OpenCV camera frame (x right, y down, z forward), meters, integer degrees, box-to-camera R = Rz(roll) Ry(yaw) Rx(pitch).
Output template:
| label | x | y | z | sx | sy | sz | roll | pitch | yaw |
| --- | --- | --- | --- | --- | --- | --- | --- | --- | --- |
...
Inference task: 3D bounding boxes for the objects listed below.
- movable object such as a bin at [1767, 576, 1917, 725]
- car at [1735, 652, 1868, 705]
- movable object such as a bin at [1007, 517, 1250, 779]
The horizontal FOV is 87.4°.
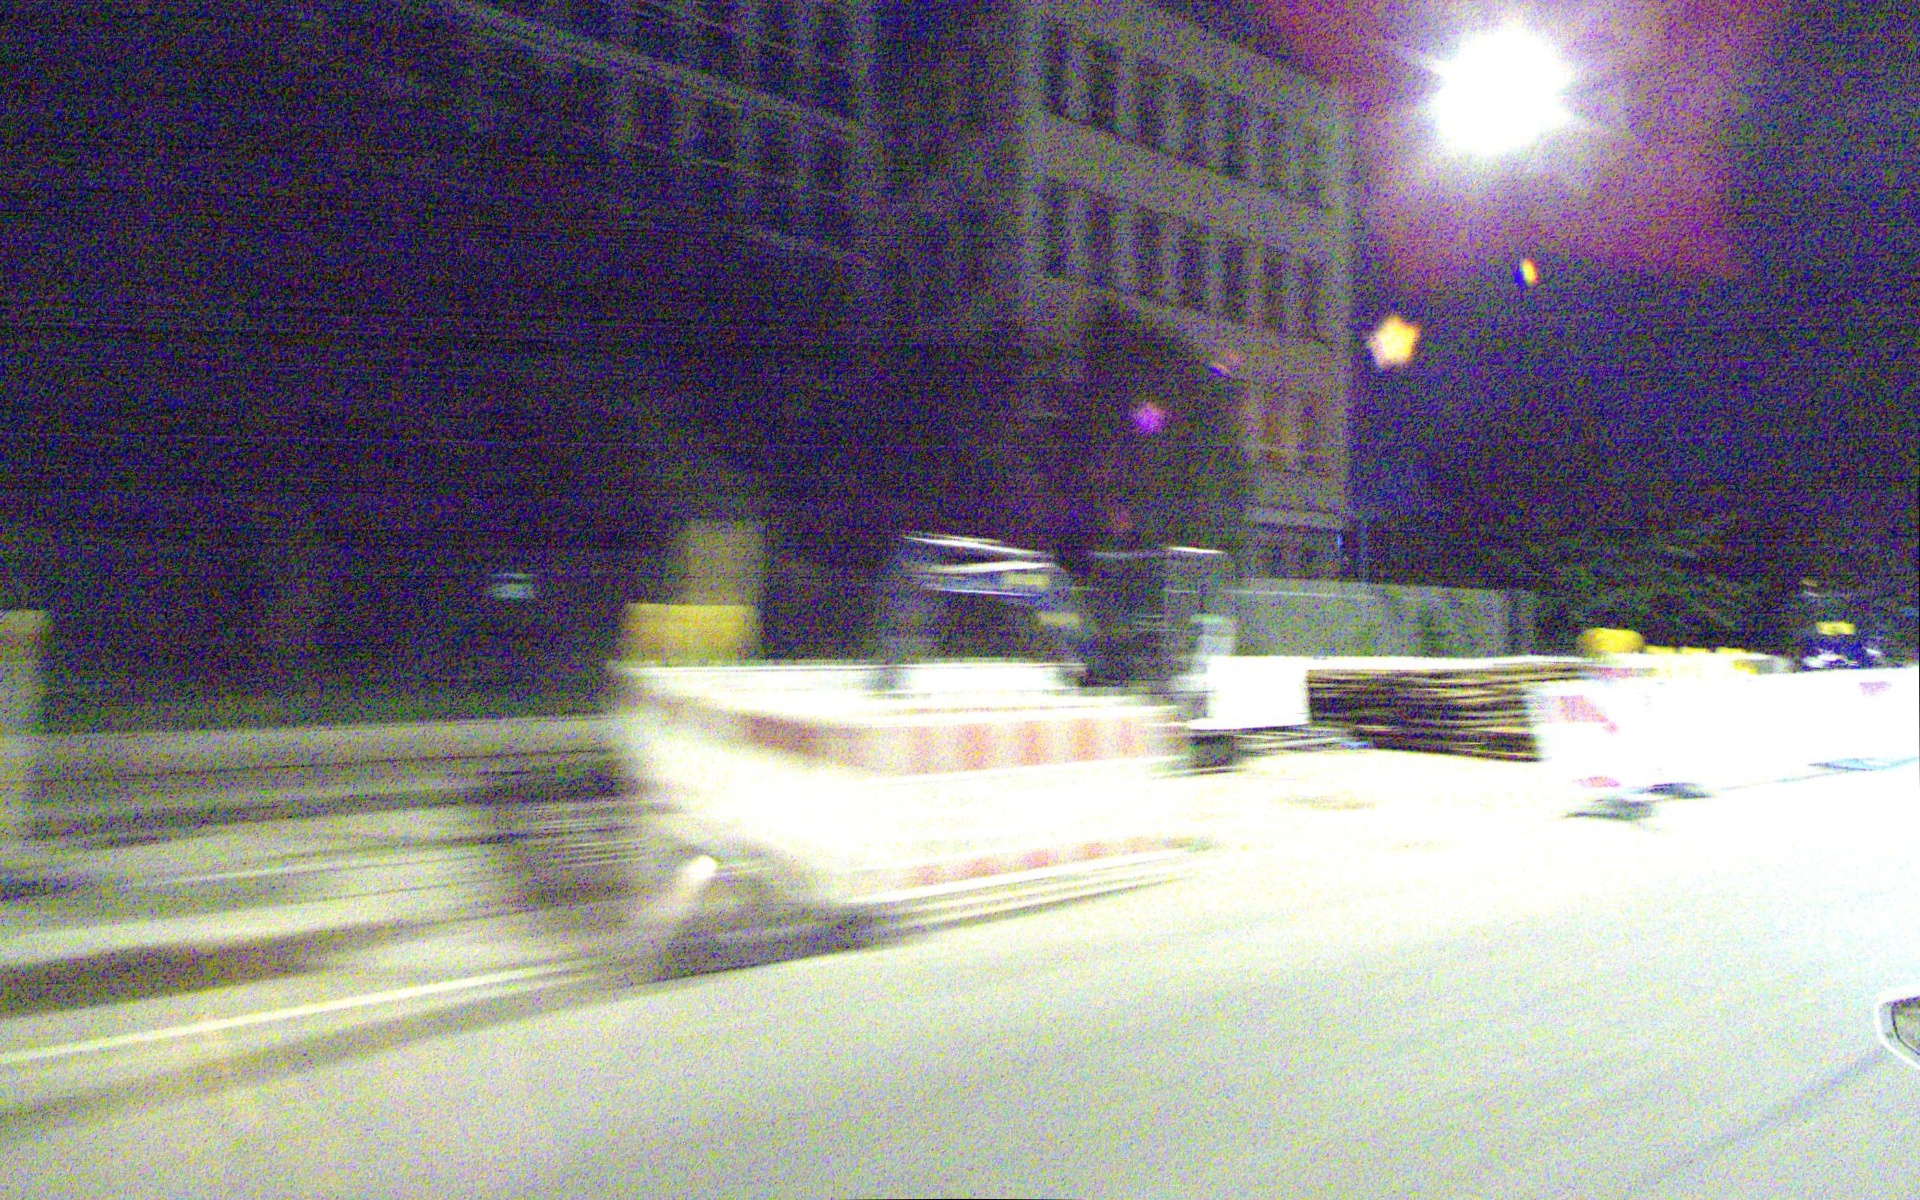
| label | x | y | z | sx | sy | sz | roll | pitch | yaw |
| --- | --- | --- | --- | --- | --- | --- | --- | --- | --- |
| movable object such as a bin | 17.974 | 1.036 | 20.438 | 3.669 | 2.769 | 1.559 | 2 | -5 | -39 |
| car | 48.482 | 4.521 | 57.898 | 6.556 | 2.879 | 1.998 | 1 | -1 | -7 |
| movable object such as a bin | 1.959 | 0.545 | 11.168 | 1.529 | 2.499 | 2.829 | -2 | -4 | 37 |
